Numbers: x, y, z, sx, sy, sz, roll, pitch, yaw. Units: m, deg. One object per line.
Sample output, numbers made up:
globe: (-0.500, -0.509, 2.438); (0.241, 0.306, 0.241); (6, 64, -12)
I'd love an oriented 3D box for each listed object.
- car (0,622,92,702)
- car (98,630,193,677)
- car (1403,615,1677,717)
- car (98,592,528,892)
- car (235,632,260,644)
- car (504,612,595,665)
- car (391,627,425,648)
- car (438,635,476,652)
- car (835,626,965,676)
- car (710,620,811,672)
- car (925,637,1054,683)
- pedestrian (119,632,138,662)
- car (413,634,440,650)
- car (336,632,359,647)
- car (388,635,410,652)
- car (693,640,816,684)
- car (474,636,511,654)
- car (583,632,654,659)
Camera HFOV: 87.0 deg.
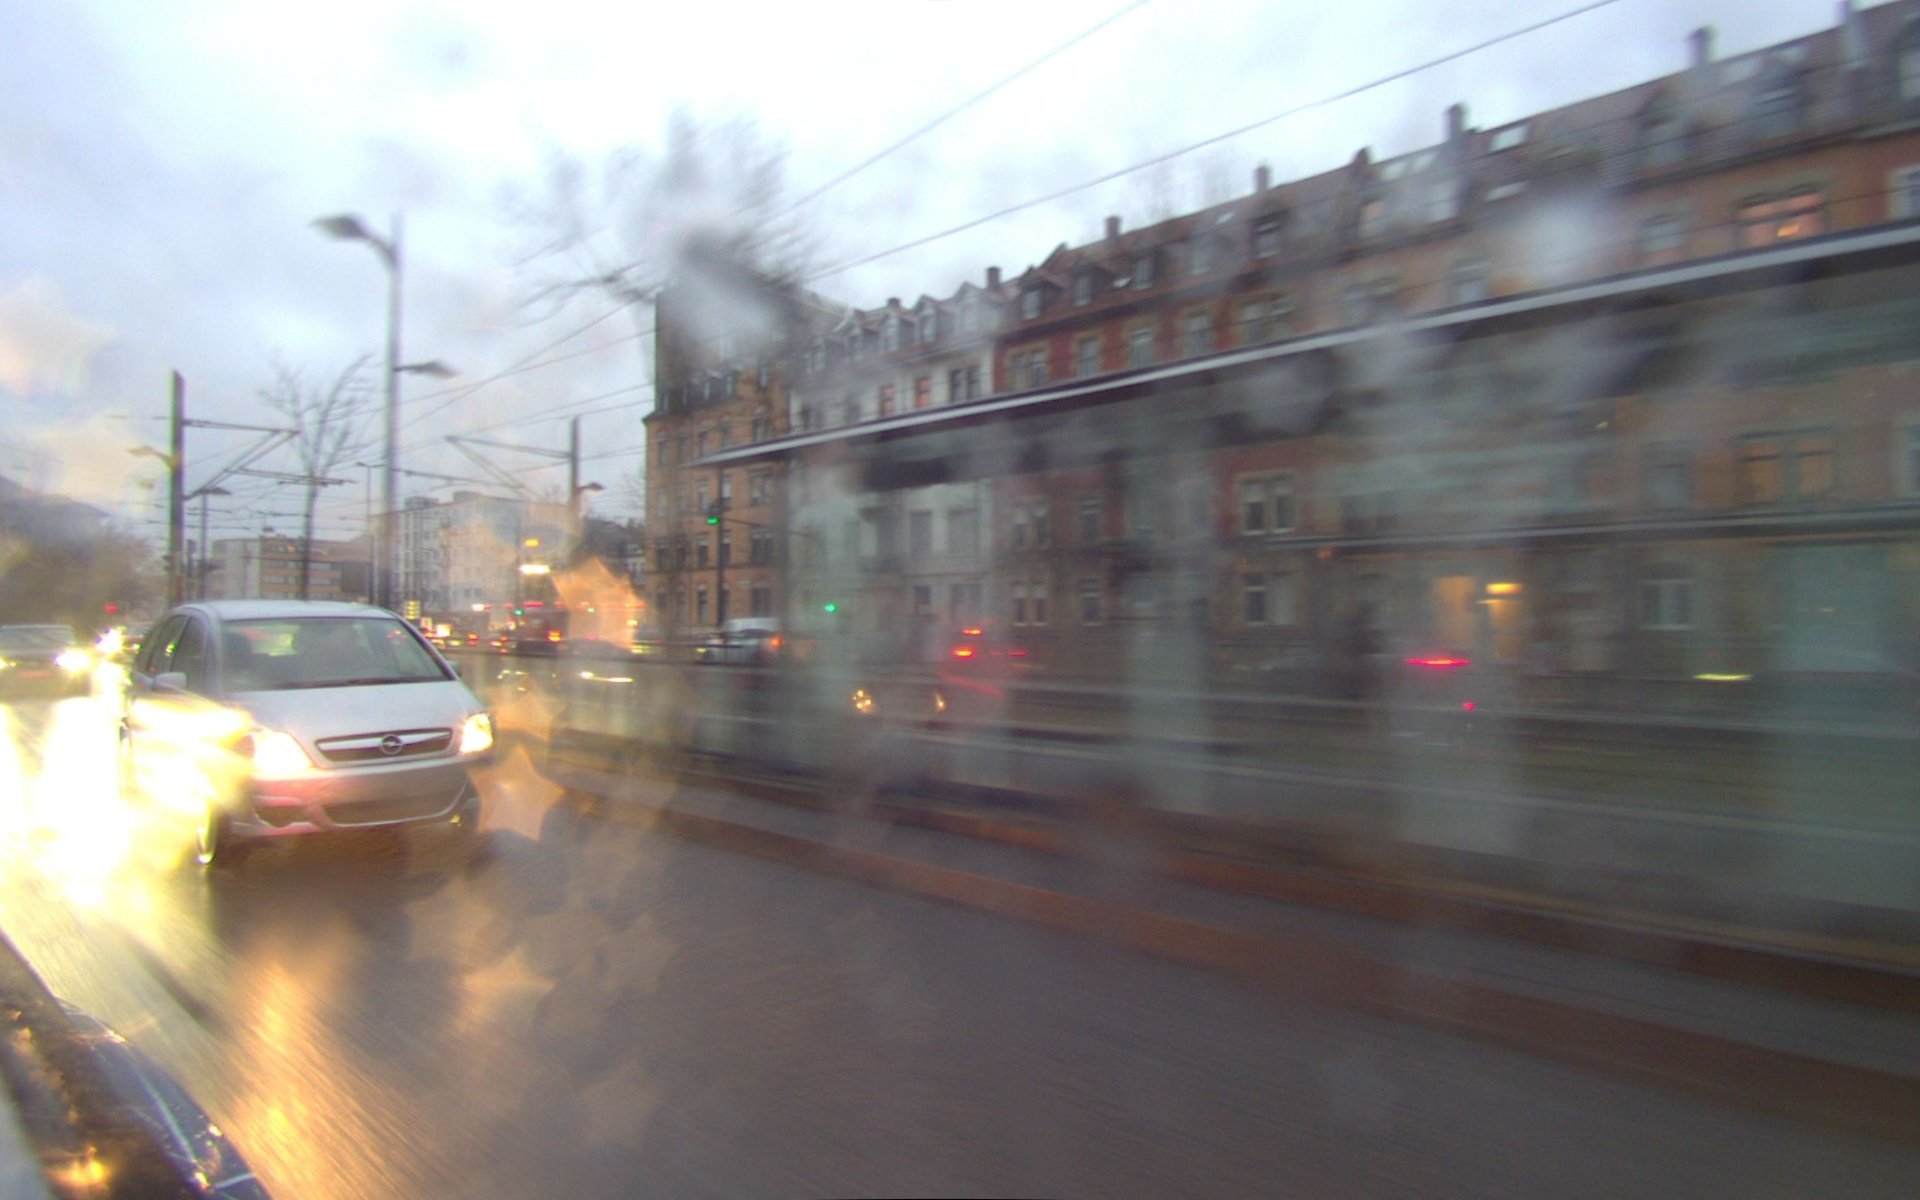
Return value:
car: (-19.788, 1.288, 21.607); (1.727, 1.556, 4.004); (3, -4, -43)
car: (-32.655, 2.142, 40.724); (1.789, 1.756, 4.200); (1, -3, -22)
car: (10.449, 1.154, 18.391); (3.998, 1.629, 1.972); (-2, -4, 41)
car: (-4.828, 0.806, 7.295); (4.109, 1.560, 1.627); (-2, -2, 43)
car: (-87.772, 4.699, 124.671); (3.848, 1.461, 1.627); (-1, -2, 40)
car: (-19.068, 1.803, 46.837); (5.268, 2.327, 1.971); (-2, -4, 45)
car: (-42.333, 2.878, 77.580); (1.658, 1.565, 4.130); (2, -3, -37)
car: (-39.866, 3.428, 80.206); (1.659, 1.364, 4.394); (2, -3, -40)
car: (-1.582, 1.317, 26.088); (3.192, 1.217, 1.520); (-2, -4, 41)
car: (-7.934, 1.807, 40.119); (3.941, 1.955, 1.972); (-2, -3, 42)
car: (0.908, 1.922, 32.858); (3.998, 1.409, 1.792); (-2, -3, 41)
pedestrian: (-53.443, 3.030, 65.064); (0.564, 1.852, 0.685); (7, -6, -22)
car: (-48.363, 3.818, 91.713); (1.658, 1.402, 3.622); (1, -2, -35)
car: (-73.166, 4.727, 120.883); (1.967, 1.657, 4.010); (2, -3, -35)
car: (-49.763, 3.868, 89.803); (1.467, 1.498, 3.161); (1, -2, -33)
car: (-6.308, 1.845, 30.861); (4.084, 1.255, 1.520); (-2, -3, 41)
car: (-31.948, 3.050, 69.122); (1.579, 1.143, 3.798); (1, -3, -37)
car: (-16.200, 2.145, 47.932); (4.088, 1.236, 1.519); (-2, -3, 44)
